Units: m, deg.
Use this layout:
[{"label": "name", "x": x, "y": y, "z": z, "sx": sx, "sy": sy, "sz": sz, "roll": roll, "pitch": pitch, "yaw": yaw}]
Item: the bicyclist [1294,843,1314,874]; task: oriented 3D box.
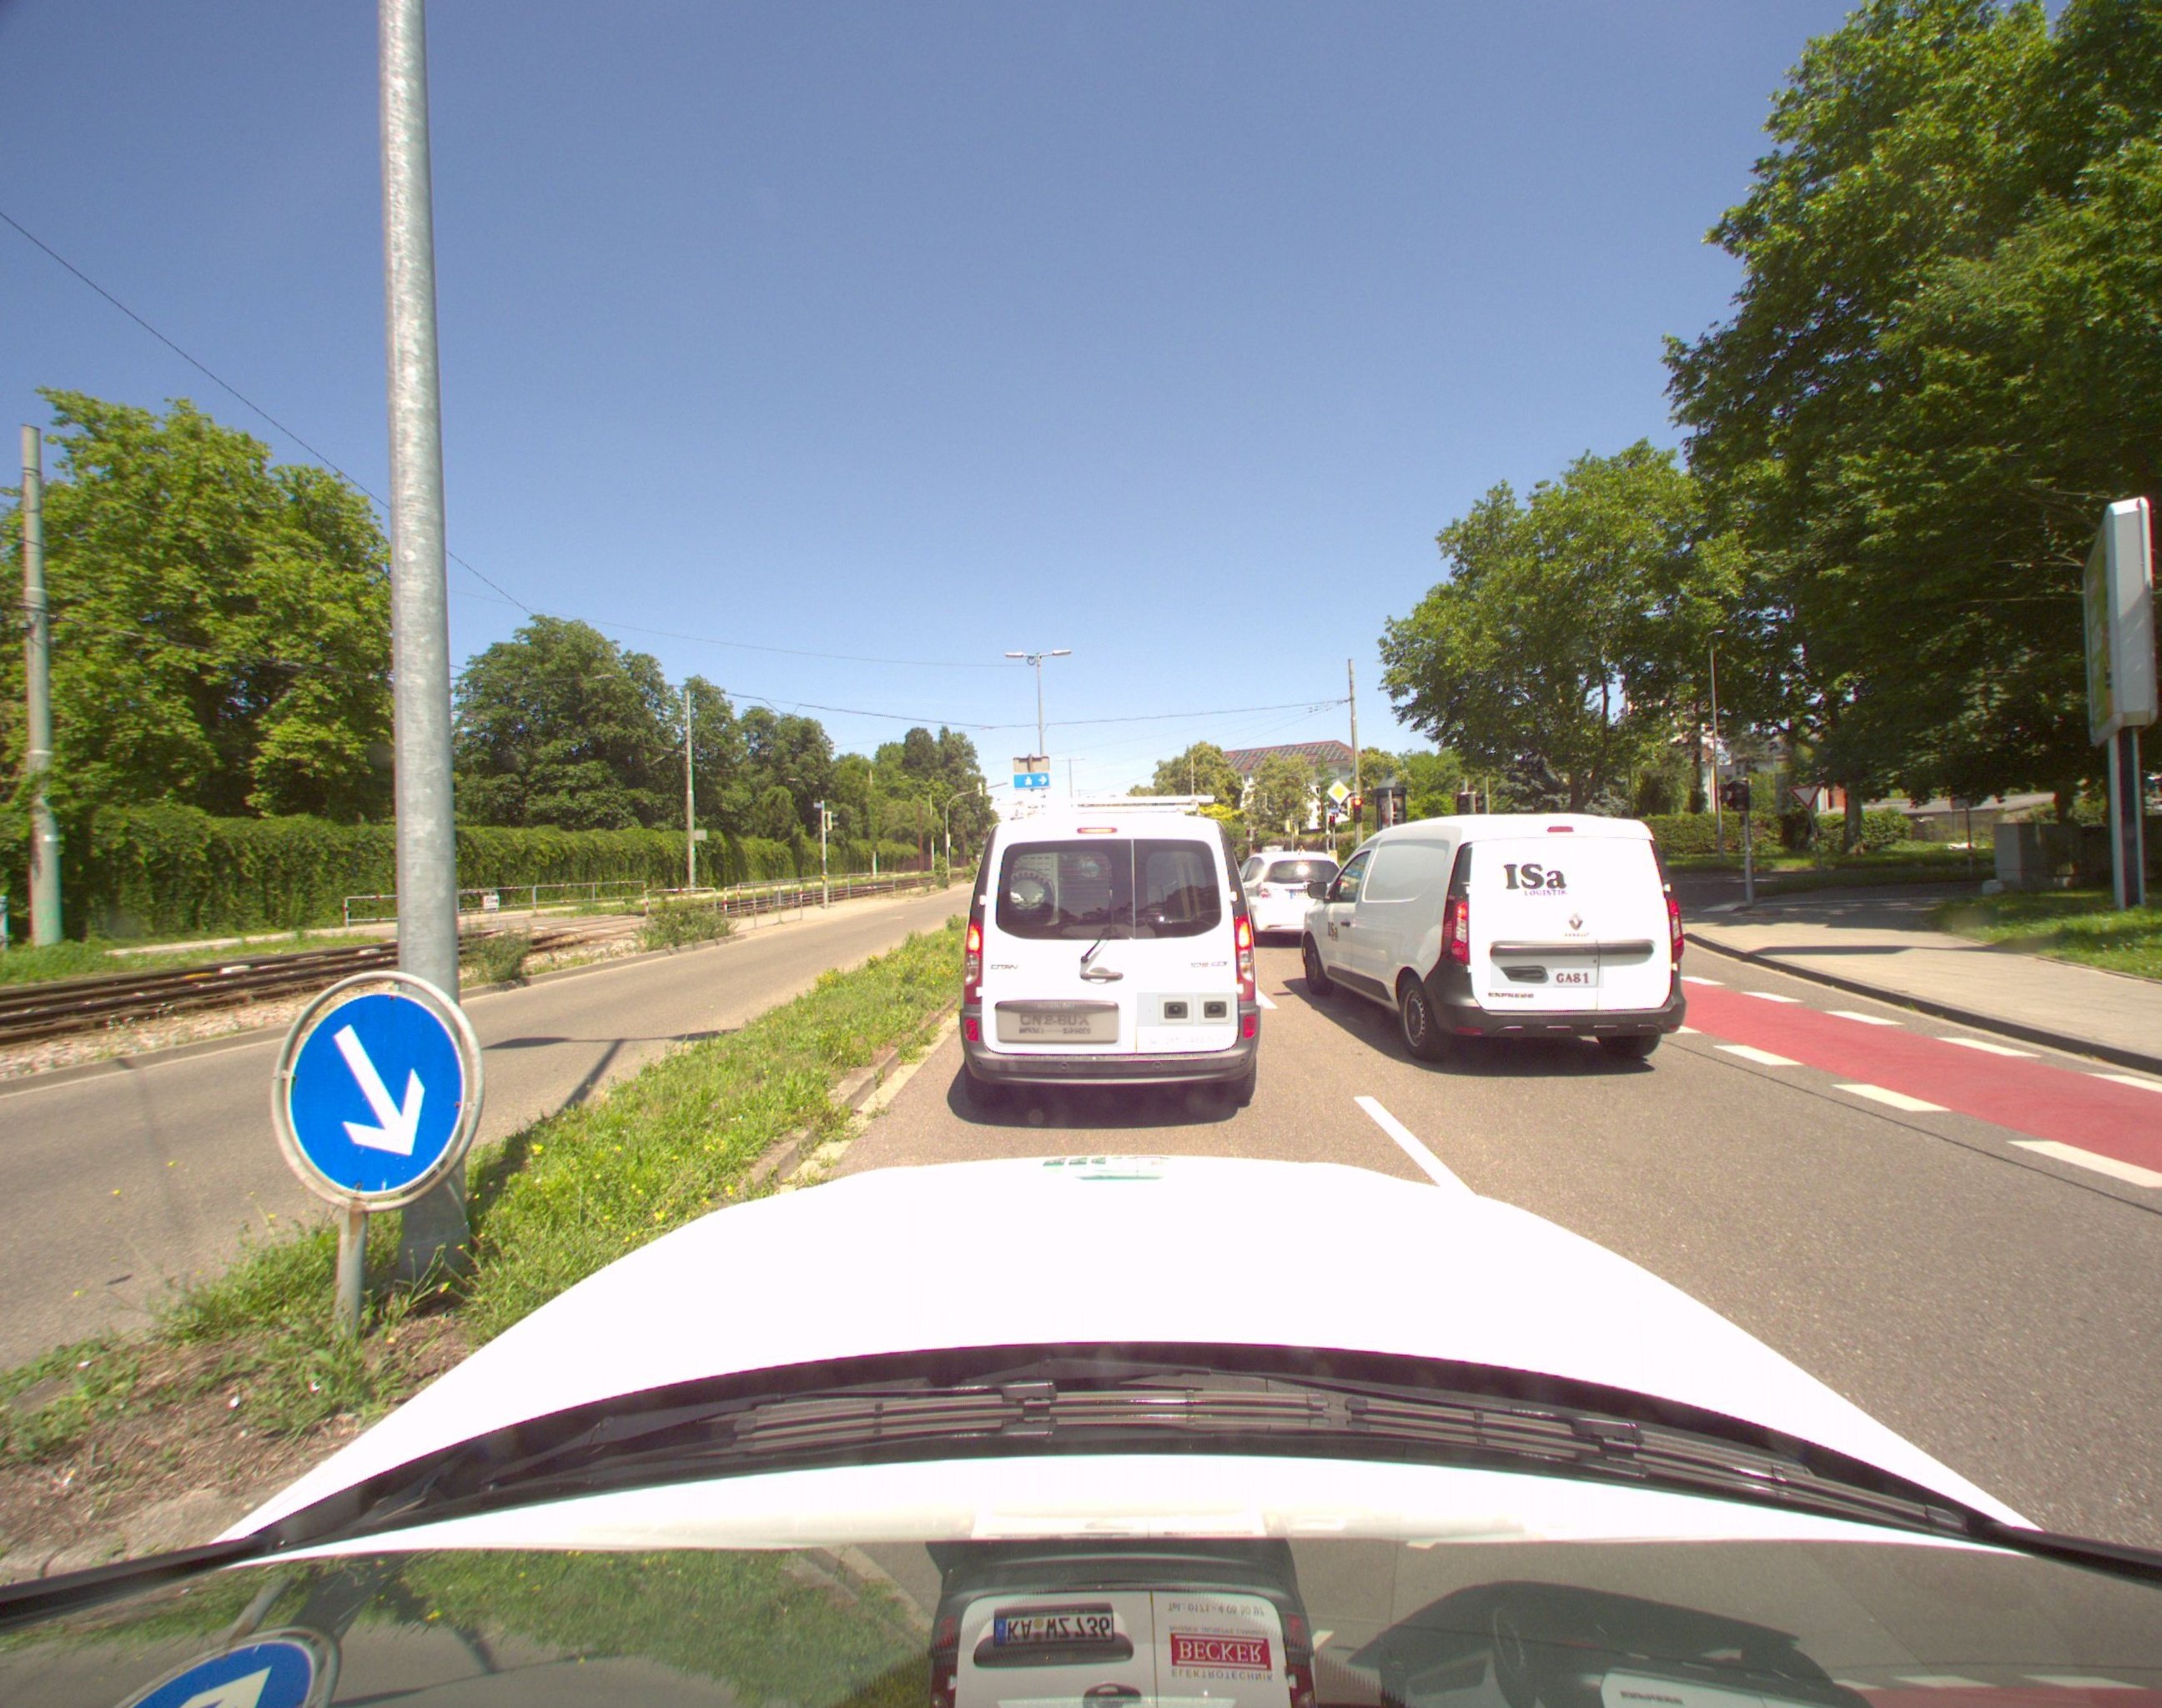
[{"label": "bicyclist", "x": 13.330, "y": 0.272, "z": 48.690, "sx": 0.971, "sy": 1.788, "sz": 0.725, "roll": -2, "pitch": -1, "yaw": -5}]

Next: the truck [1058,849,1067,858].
[{"label": "truck", "x": -5.276, "y": -0.187, "z": 234.270, "sx": 2.131, "sy": 2.587, "sz": 5.891, "roll": 0, "pitch": -1, "yaw": 2}]

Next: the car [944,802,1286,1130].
[{"label": "car", "x": 0.250, "y": 0.613, "z": 6.572, "sx": 1.814, "sy": 1.739, "sz": 4.398, "roll": -1, "pitch": 0, "yaw": 2}]

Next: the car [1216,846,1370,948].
[{"label": "car", "x": 3.623, "y": 0.659, "z": 14.629, "sx": 1.828, "sy": 1.568, "sz": 4.002, "roll": 0, "pitch": 0, "yaw": 2}]

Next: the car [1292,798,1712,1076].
[{"label": "car", "x": 3.254, "y": 0.542, "z": 7.313, "sx": 1.721, "sy": 1.788, "sz": 4.065, "roll": 0, "pitch": 0, "yaw": 1}]

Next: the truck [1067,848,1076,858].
[{"label": "truck", "x": -2.544, "y": -0.280, "z": 225.315, "sx": 2.131, "sy": 2.587, "sz": 5.891, "roll": 0, "pitch": -1, "yaw": 2}]

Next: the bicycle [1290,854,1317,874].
[{"label": "bicycle", "x": 13.300, "y": 0.594, "z": 48.710, "sx": 0.890, "sy": 1.159, "sz": 1.953, "roll": -2, "pitch": -1, "yaw": -4}]

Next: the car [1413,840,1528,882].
[{"label": "car", "x": 15.247, "y": 0.275, "z": 32.000, "sx": 3.950, "sy": 1.520, "sz": 1.763, "roll": -2, "pitch": -1, "yaw": 26}]
